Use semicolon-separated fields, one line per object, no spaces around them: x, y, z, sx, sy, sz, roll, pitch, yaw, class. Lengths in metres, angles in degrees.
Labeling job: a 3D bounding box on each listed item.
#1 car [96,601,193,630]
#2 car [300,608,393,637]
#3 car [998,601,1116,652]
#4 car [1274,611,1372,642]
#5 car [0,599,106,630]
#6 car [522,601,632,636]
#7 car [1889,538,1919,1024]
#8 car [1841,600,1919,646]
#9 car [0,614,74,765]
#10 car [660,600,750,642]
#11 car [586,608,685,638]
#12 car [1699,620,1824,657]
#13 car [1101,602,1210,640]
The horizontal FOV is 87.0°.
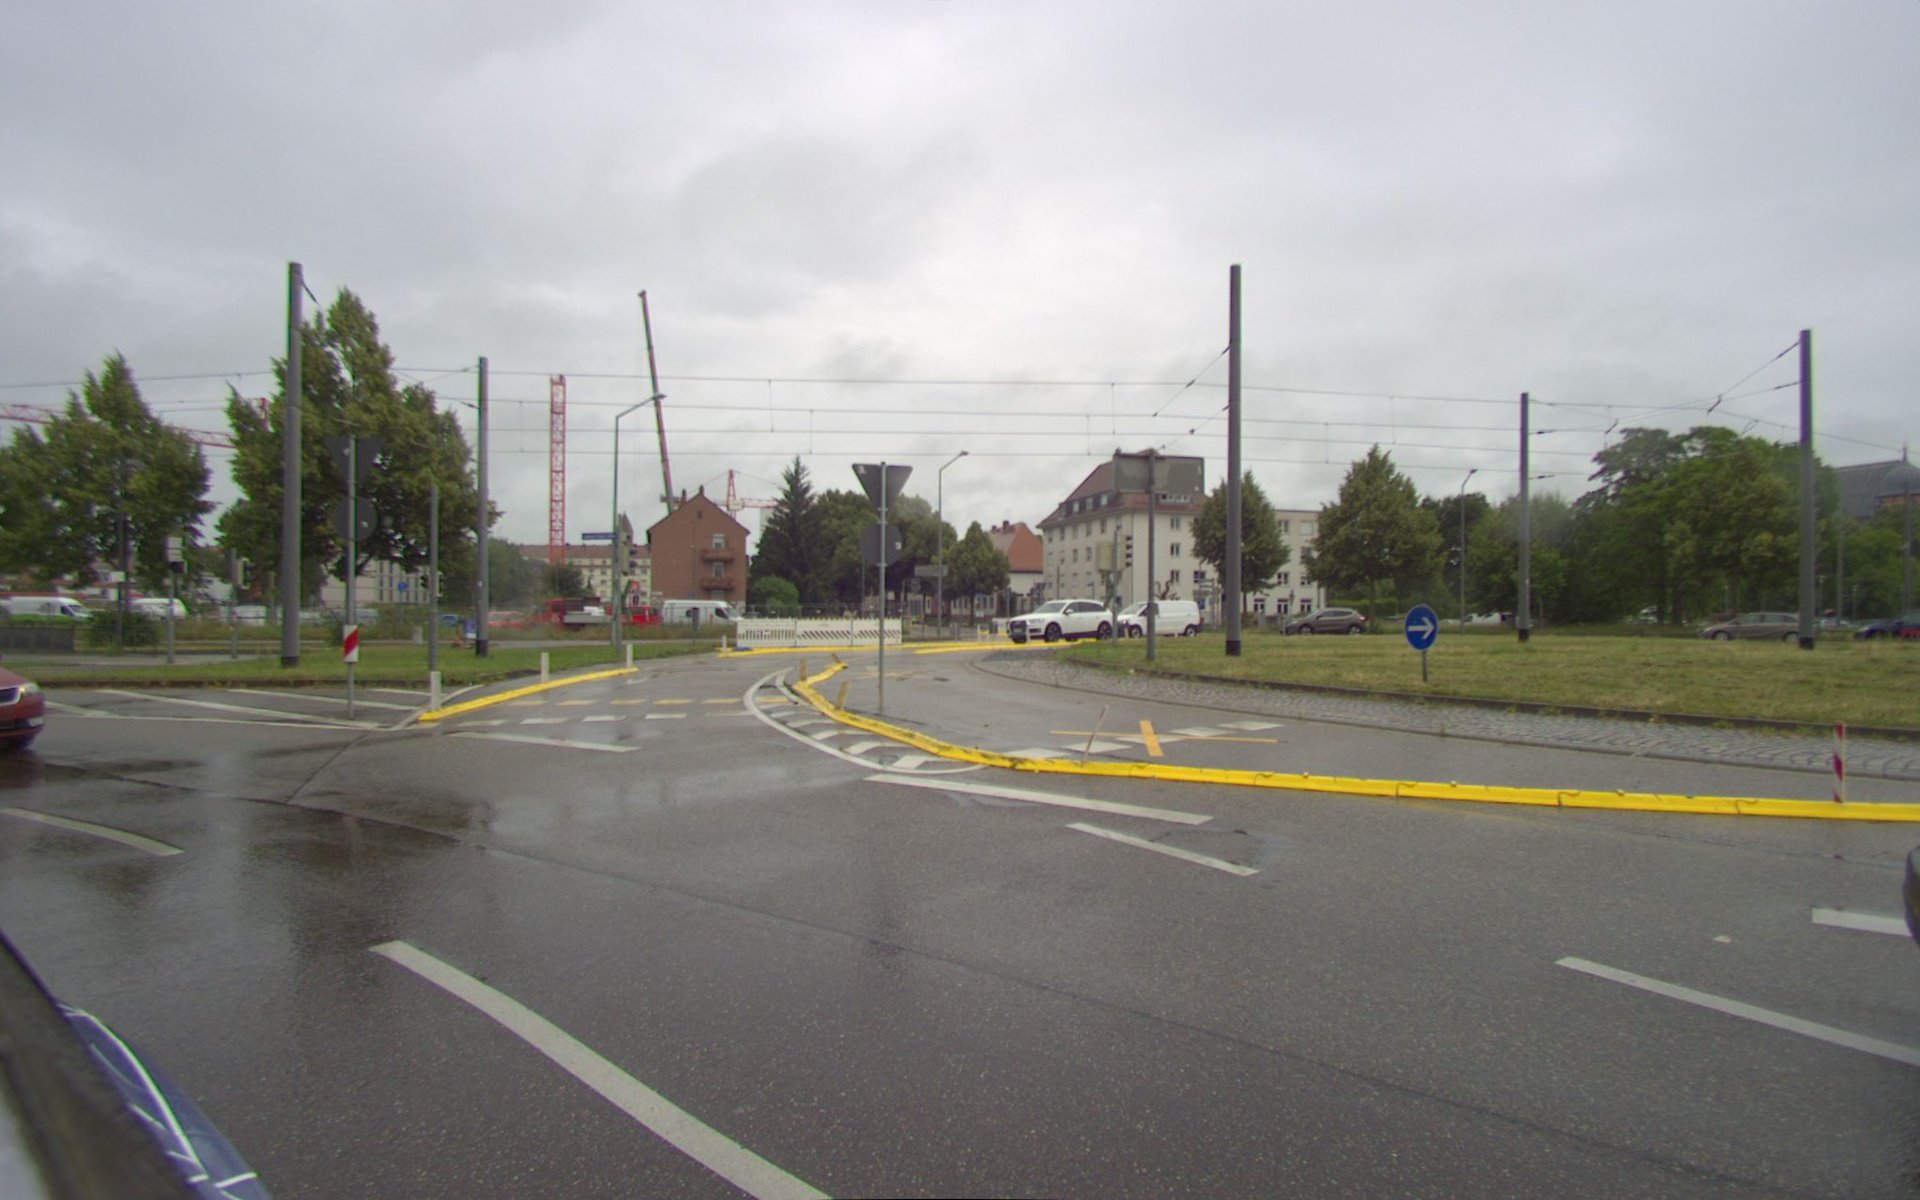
-73.495;1.367;91.298;6.741;2.495;2.501;0;1;0;car
-55.279;2.015;91.299;6.726;2.495;2.362;0;-1;-10;car
3.841;0.984;39.523;4.789;1.757;1.781;-1;2;-40;car
18.746;1.370;52.353;4.481;1.503;1.613;0;1;-3;car
-76.151;1.226;84.642;7.532;2.495;2.357;0;1;0;car
-24.115;1.127;63.740;6.367;2.029;2.346;0;1;15;car
4.469;0.543;1.491;4.322;1.529;1.768;-1;-1;35;car
38.807;0.946;40.797;1.752;1.757;4.869;-1;2;-45;car
-11.672;0.902;10.665;4.285;1.470;1.776;1;1;22;car
-19.342;1.549;76.865;6.367;2.961;2.346;0;1;15;car
-22.586;1.629;70.458;6.367;2.029;2.346;-1;-1;15;car
37.744;1.790;47.808;4.542;1.503;1.591;1;2;38;car
9.373;0.979;48.577;4.938;1.655;1.837;-1;1;-22;car
